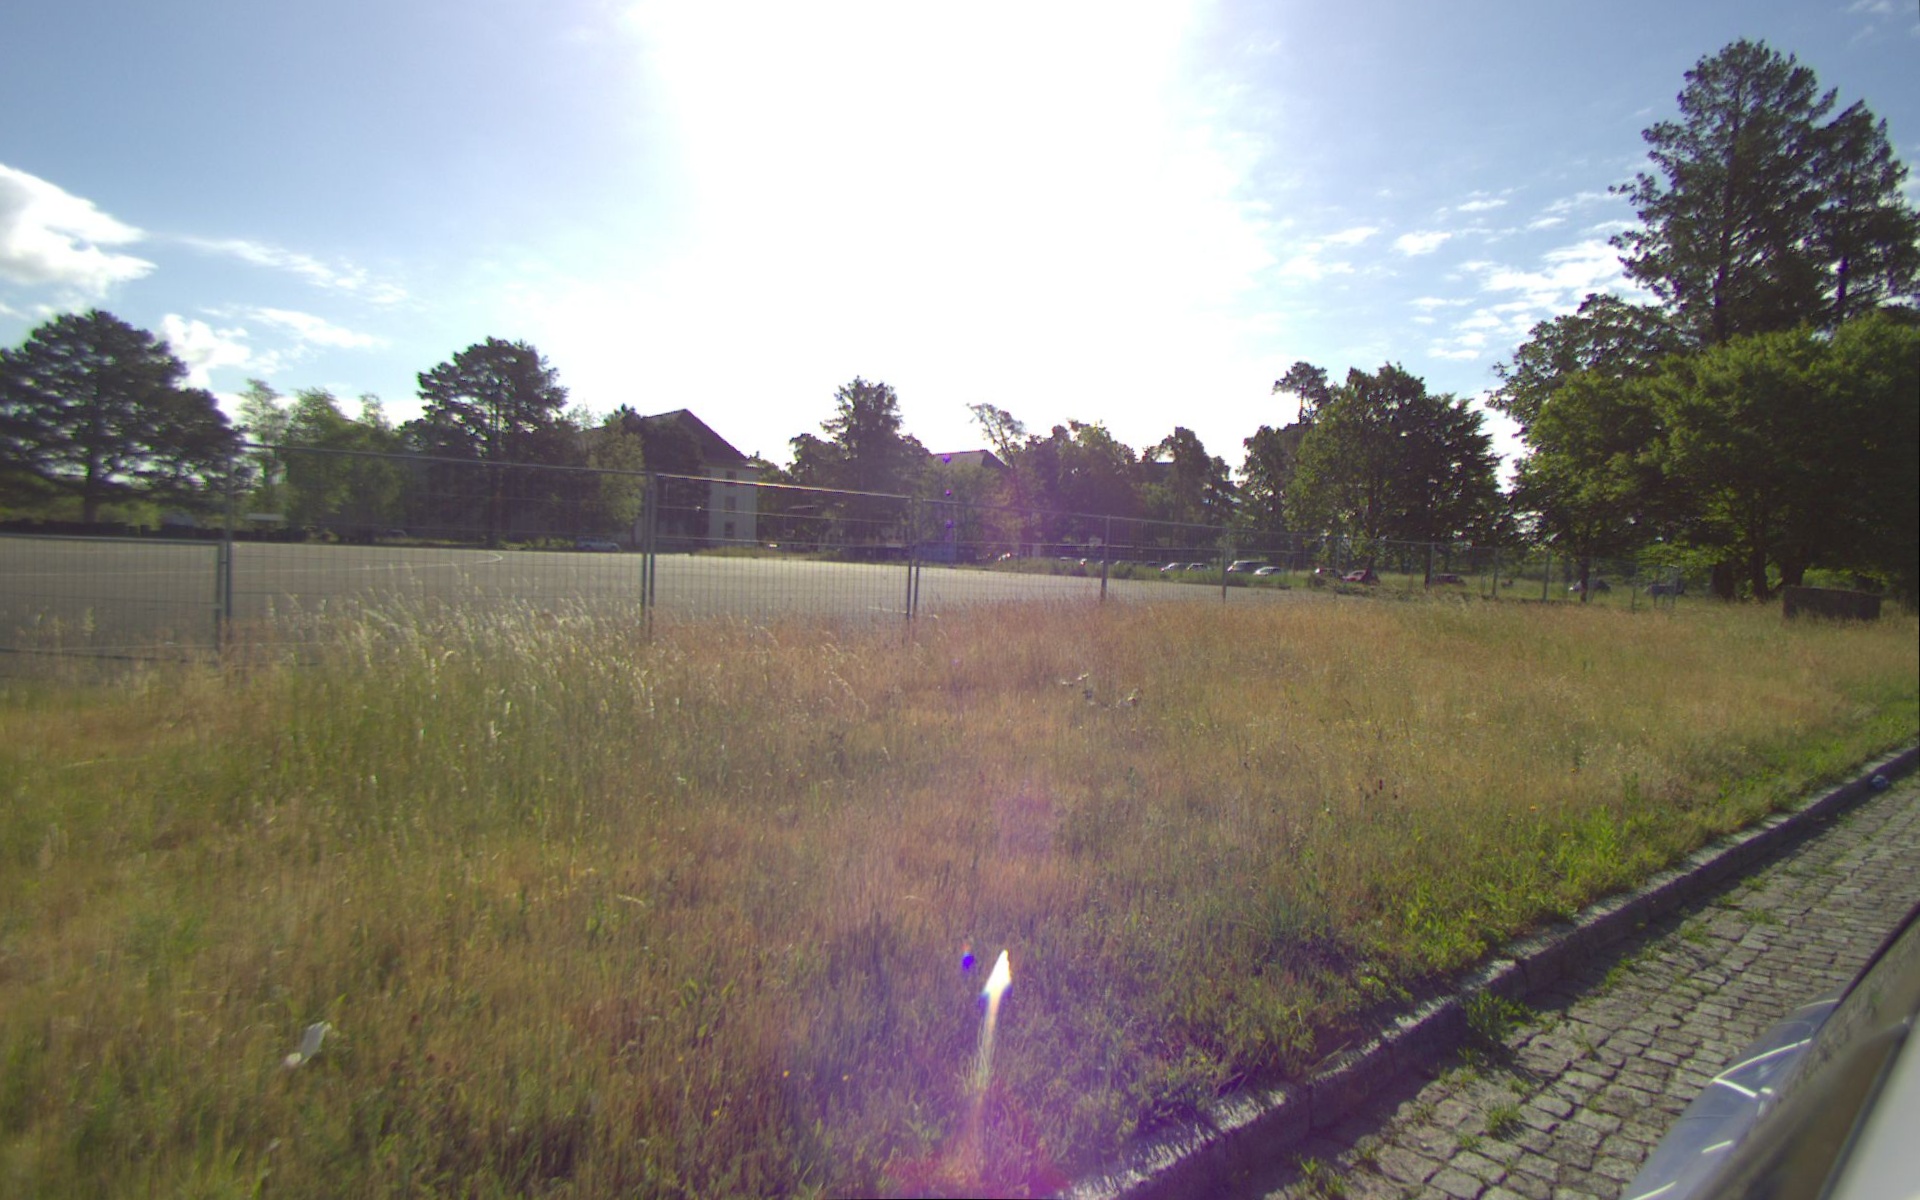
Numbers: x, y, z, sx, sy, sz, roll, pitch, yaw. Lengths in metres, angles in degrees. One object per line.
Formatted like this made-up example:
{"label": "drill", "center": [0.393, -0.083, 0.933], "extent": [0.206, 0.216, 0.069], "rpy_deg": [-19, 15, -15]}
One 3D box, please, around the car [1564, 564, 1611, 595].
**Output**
{"label": "car", "center": [45.168, -1.471, 72.844], "extent": [1.995, 2.038, 3.937], "rpy_deg": [4, 3, 44]}

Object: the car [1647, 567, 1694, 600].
{"label": "car", "center": [48.232, -1.118, 68.670], "extent": [1.995, 2.038, 3.937], "rpy_deg": [4, 3, 44]}

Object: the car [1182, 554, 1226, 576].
{"label": "car", "center": [24.046, -3.420, 99.701], "extent": [3.922, 2.039, 2.001], "rpy_deg": [0, 1, -33]}

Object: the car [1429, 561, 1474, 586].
{"label": "car", "center": [39.192, -2.125, 80.662], "extent": [1.995, 1.838, 3.937], "rpy_deg": [5, 4, 44]}

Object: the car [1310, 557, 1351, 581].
{"label": "car", "center": [32.488, -2.713, 88.623], "extent": [1.993, 2.038, 3.940], "rpy_deg": [4, 4, 42]}

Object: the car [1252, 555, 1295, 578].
{"label": "car", "center": [28.995, -3.096, 93.688], "extent": [3.931, 1.971, 1.997], "rpy_deg": [0, 4, -42]}

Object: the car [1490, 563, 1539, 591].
{"label": "car", "center": [42.383, -1.744, 77.296], "extent": [3.932, 2.038, 1.997], "rpy_deg": [0, 4, -42]}

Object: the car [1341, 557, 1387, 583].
{"label": "car", "center": [34.578, -2.547, 86.525], "extent": [3.930, 2.038, 1.998], "rpy_deg": [0, 4, -41]}

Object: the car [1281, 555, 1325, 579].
{"label": "car", "center": [31.362, -2.991, 92.535], "extent": [3.929, 2.038, 1.999], "rpy_deg": [0, 3, -40]}
